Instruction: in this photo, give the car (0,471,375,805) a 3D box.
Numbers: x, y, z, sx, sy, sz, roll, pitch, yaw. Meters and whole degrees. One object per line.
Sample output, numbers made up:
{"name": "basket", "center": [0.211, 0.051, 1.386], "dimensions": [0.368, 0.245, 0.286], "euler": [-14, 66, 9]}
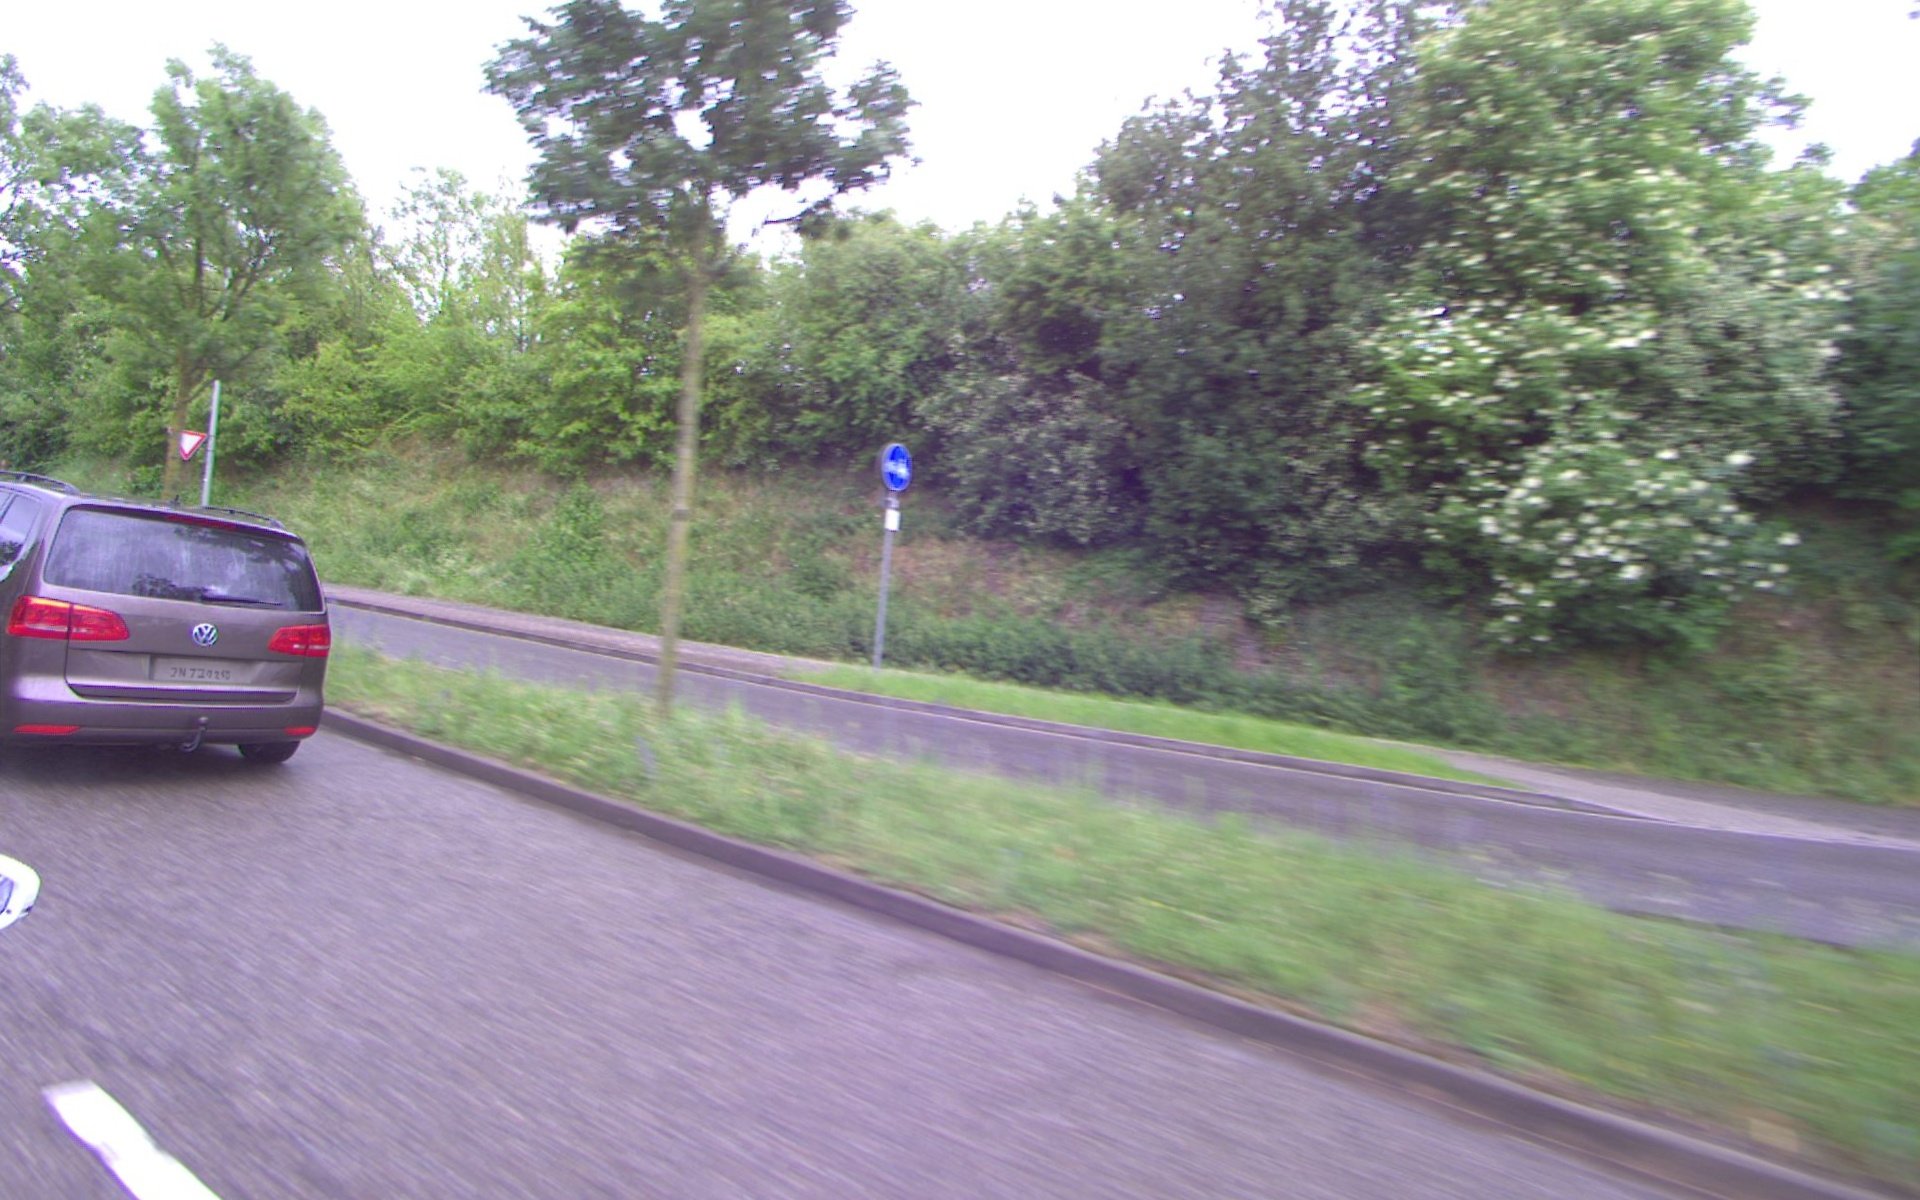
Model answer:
{"name": "car", "center": [-5.925, 0.068, 6.599], "dimensions": [4.061, 1.615, 1.717], "euler": [7, -1, 31]}
